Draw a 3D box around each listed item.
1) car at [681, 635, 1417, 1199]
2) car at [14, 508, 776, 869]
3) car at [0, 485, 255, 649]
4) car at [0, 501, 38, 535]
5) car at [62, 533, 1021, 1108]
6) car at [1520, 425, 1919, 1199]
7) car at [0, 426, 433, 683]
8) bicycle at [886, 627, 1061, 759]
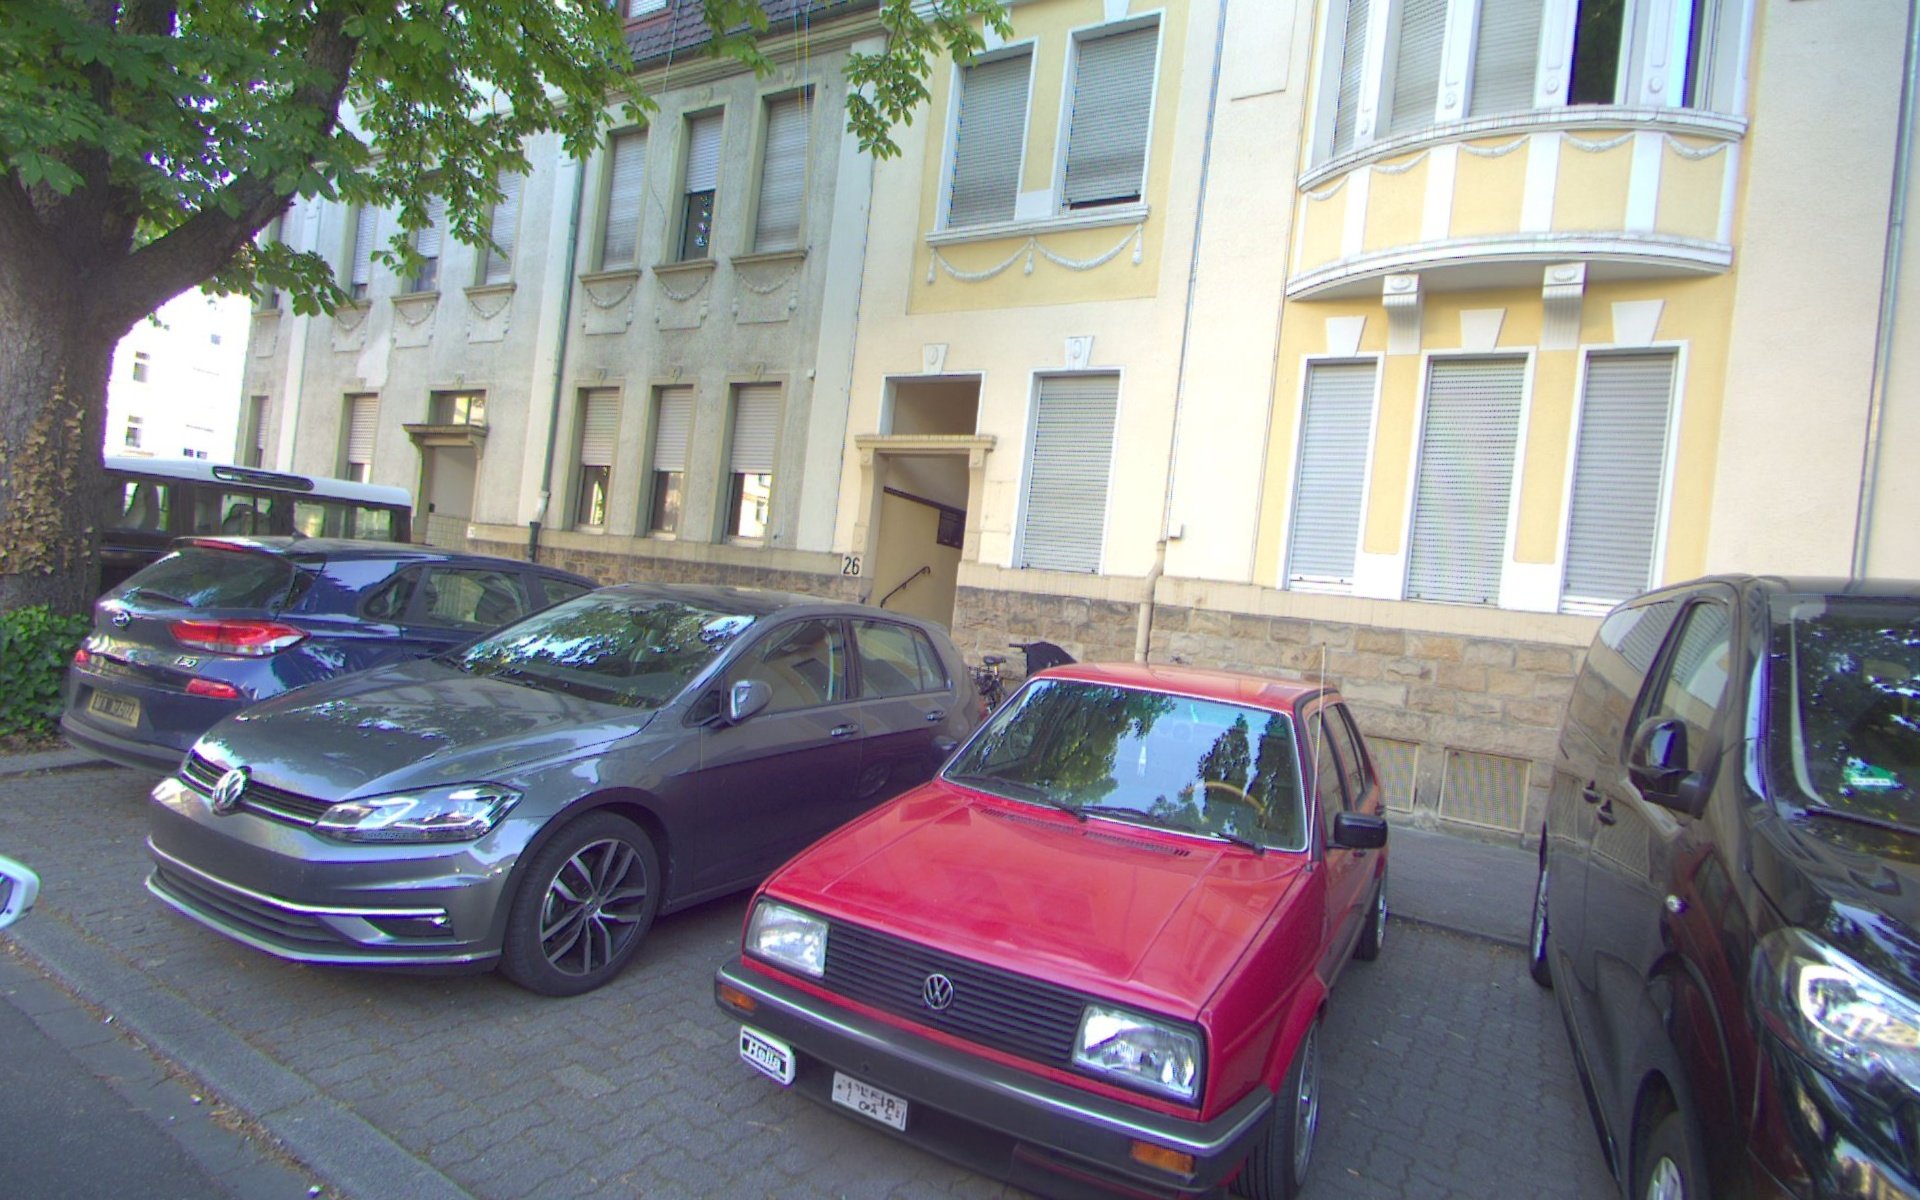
[{"bbox_3d":[0.858,0.924,4.211,1.532,1.337,3.916,6,0,29],"label":"car"},{"bbox_3d":[-3.015,0.424,6.203,1.600,1.440,3.754,6,0,29],"label":"car"},{"bbox_3d":[-10.020,-0.387,10.857,1.680,1.606,3.489,7,0,25],"label":"car"},{"bbox_3d":[-36.086,-3.187,36.648,1.357,1.081,3.370,7,-1,30],"label":"car"},{"bbox_3d":[-1.348,0.655,4.814,1.600,1.440,4.054,6,0,29],"label":"car"},{"bbox_3d":[2.901,0.904,2.931,1.848,1.847,4.829,6,0,27],"label":"car"},{"bbox_3d":[-7.598,-0.373,9.297,1.762,1.981,4.496,7,1,29],"label":"car"},{"bbox_3d":[0.118,0.920,10.327,1.675,1.090,0.500,7,2,31],"label":"bicycle"}]
